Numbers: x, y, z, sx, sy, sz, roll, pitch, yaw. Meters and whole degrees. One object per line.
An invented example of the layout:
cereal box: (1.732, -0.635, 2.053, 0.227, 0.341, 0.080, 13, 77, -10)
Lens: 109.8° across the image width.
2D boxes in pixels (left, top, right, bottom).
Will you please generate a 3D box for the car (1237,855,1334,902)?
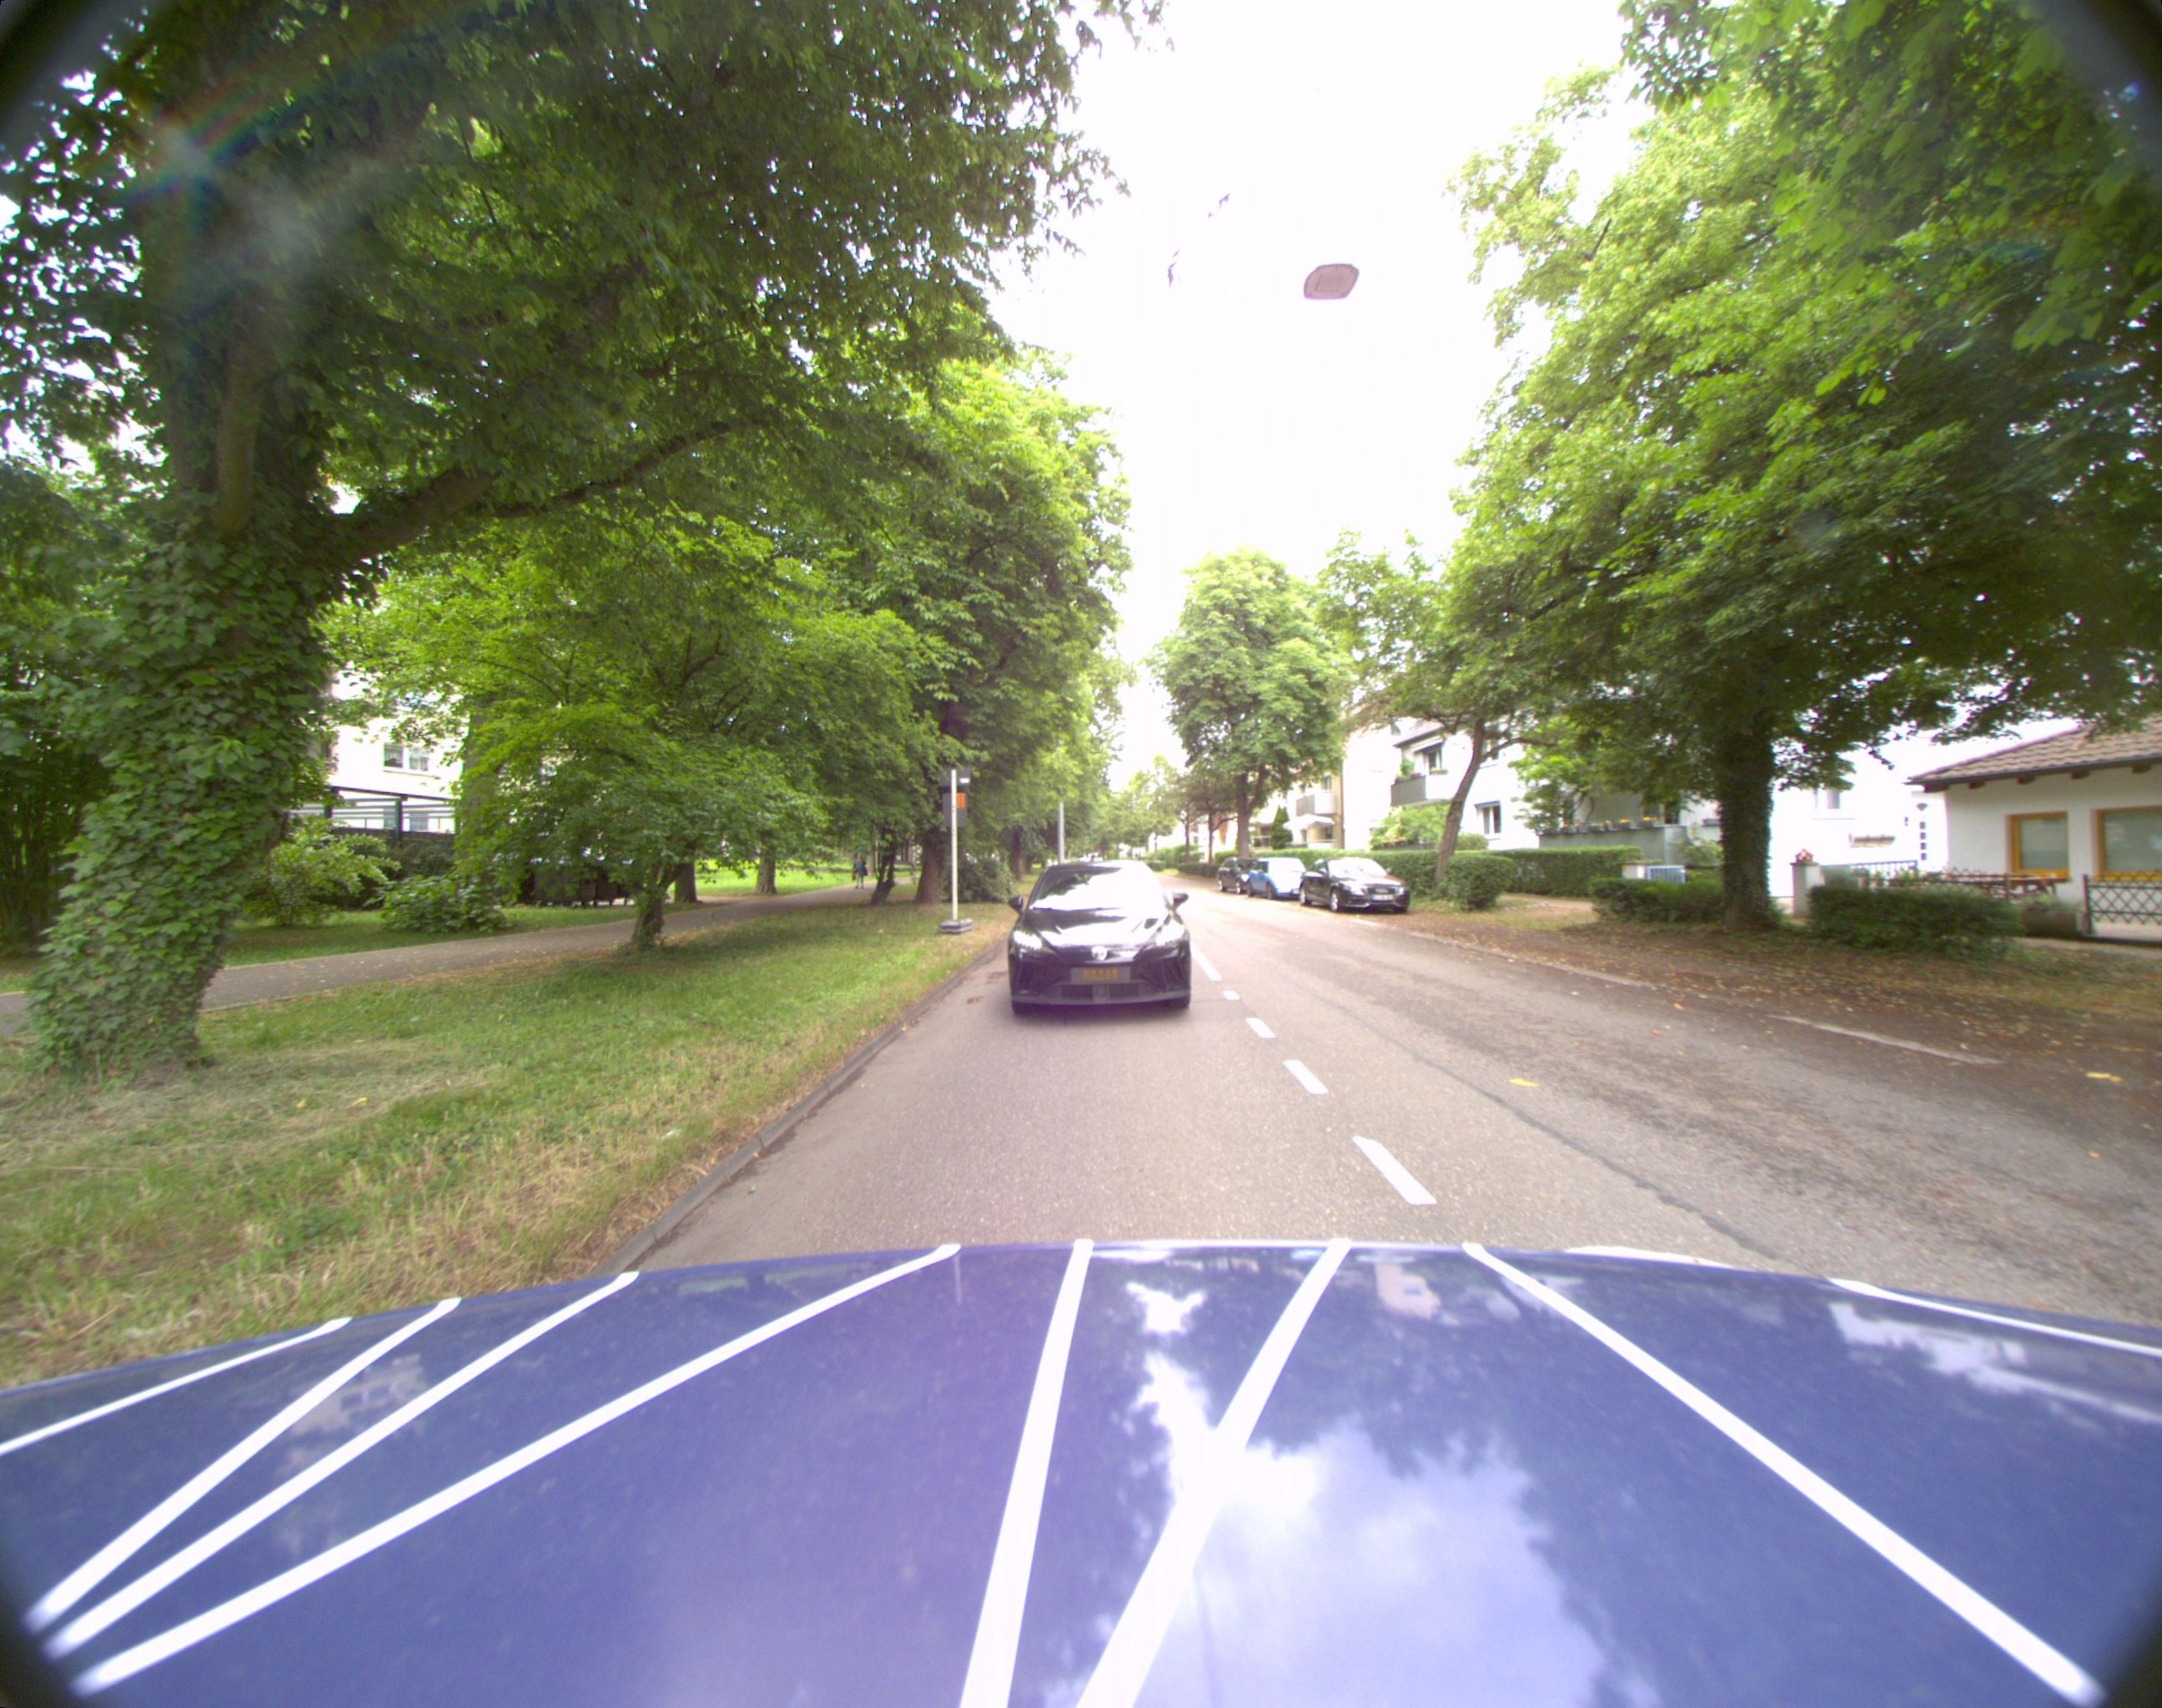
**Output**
car: (6.932, 0.783, 26.301, 1.889, 1.492, 4.564, 0, 0, -4)

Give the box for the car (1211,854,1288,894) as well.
car: (6.763, 0.766, 31.053, 1.889, 1.524, 4.564, 0, 0, -4)

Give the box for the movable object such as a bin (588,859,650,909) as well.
movable object such as a bin: (-13.486, 0.855, 22.205, 1.194, 1.405, 1.110, 0, 0, -8)

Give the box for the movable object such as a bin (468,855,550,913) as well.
movable object such as a bin: (-14.794, 0.746, 19.709, 1.194, 1.448, 1.348, 0, 0, -8)

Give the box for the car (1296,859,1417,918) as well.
car: (7.181, 0.842, 20.282, 1.735, 1.395, 4.171, 0, 0, 0)

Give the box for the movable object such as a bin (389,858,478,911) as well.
movable object such as a bin: (-16.735, 0.765, 19.691, 1.194, 1.334, 1.348, 0, 0, -8)

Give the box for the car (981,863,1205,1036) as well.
car: (0.111, 0.883, 9.099, 1.998, 1.491, 4.615, 0, 0, 0)

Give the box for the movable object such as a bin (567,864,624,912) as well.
movable object such as a bin: (-13.474, 0.919, 21.112, 1.026, 1.296, 0.959, 0, 0, -8)

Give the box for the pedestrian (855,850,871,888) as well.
pedestrian: (-10.295, 0.703, 35.894, 0.565, 1.730, 0.570, 1, 0, -1)

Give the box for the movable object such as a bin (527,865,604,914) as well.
movable object such as a bin: (-13.479, 0.905, 19.913, 1.194, 1.213, 1.348, 0, 0, -8)
